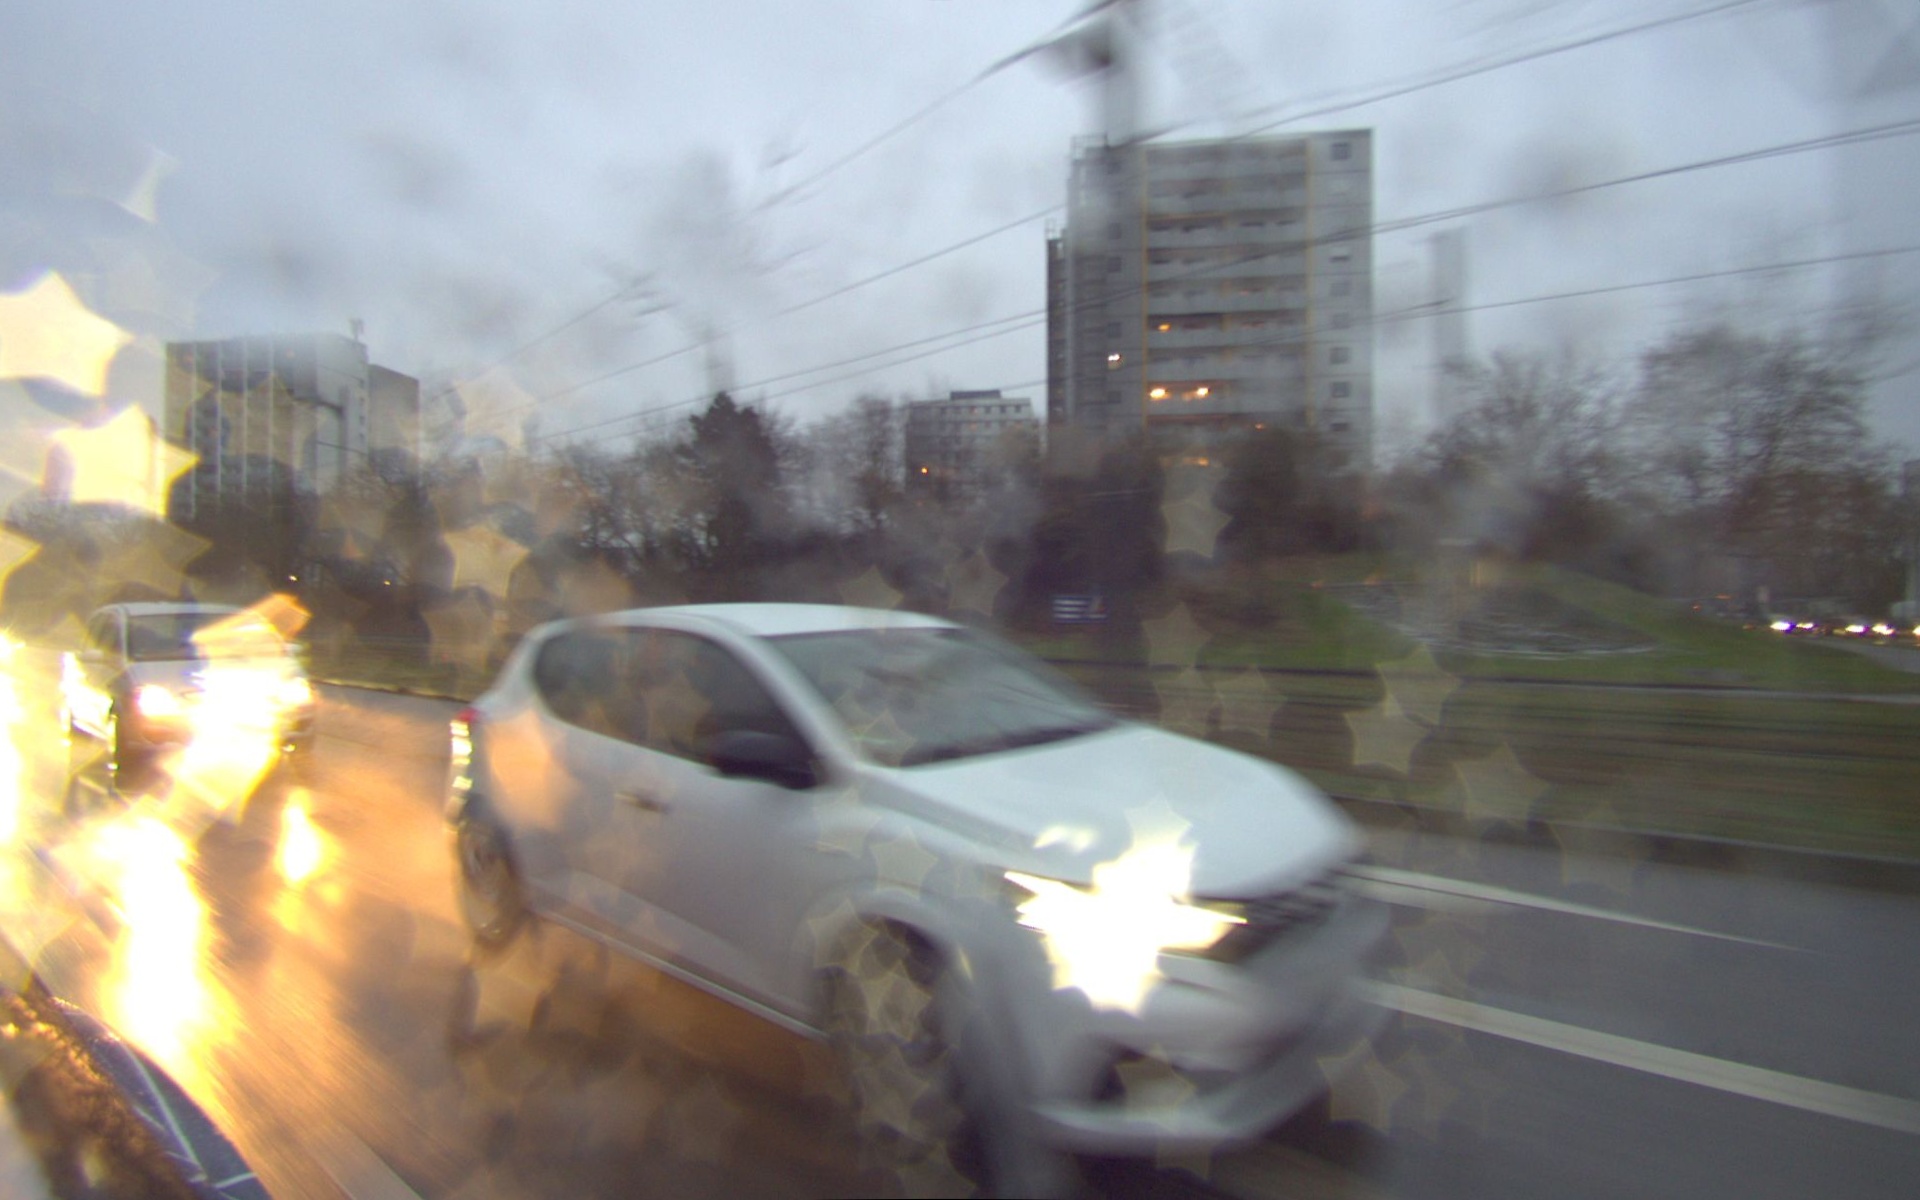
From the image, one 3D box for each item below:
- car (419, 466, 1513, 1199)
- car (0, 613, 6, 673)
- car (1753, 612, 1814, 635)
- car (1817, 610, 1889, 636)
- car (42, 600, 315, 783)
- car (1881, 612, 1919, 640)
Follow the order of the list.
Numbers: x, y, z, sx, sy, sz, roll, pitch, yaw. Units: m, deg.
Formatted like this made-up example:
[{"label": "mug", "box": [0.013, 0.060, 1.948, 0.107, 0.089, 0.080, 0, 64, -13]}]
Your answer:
[{"label": "car", "box": [-0.387, 0.620, 3.904, 4.146, 1.660, 1.695, -1, -1, 42]}, {"label": "car", "box": [-28.160, 1.188, 28.114, 4.121, 1.612, 1.928, -1, -1, 40]}, {"label": "car", "box": [57.421, 1.635, 70.622, 1.696, 1.556, 3.963, 0, -1, 14]}, {"label": "car", "box": [55.792, 1.429, 63.307, 1.696, 1.556, 3.963, 0, -1, 14]}, {"label": "car", "box": [-8.410, 0.817, 10.749, 4.191, 1.551, 1.671, -1, 0, 44]}, {"label": "car", "box": [54.548, 1.481, 57.457, 1.696, 1.556, 3.808, 0, -1, 14]}]
